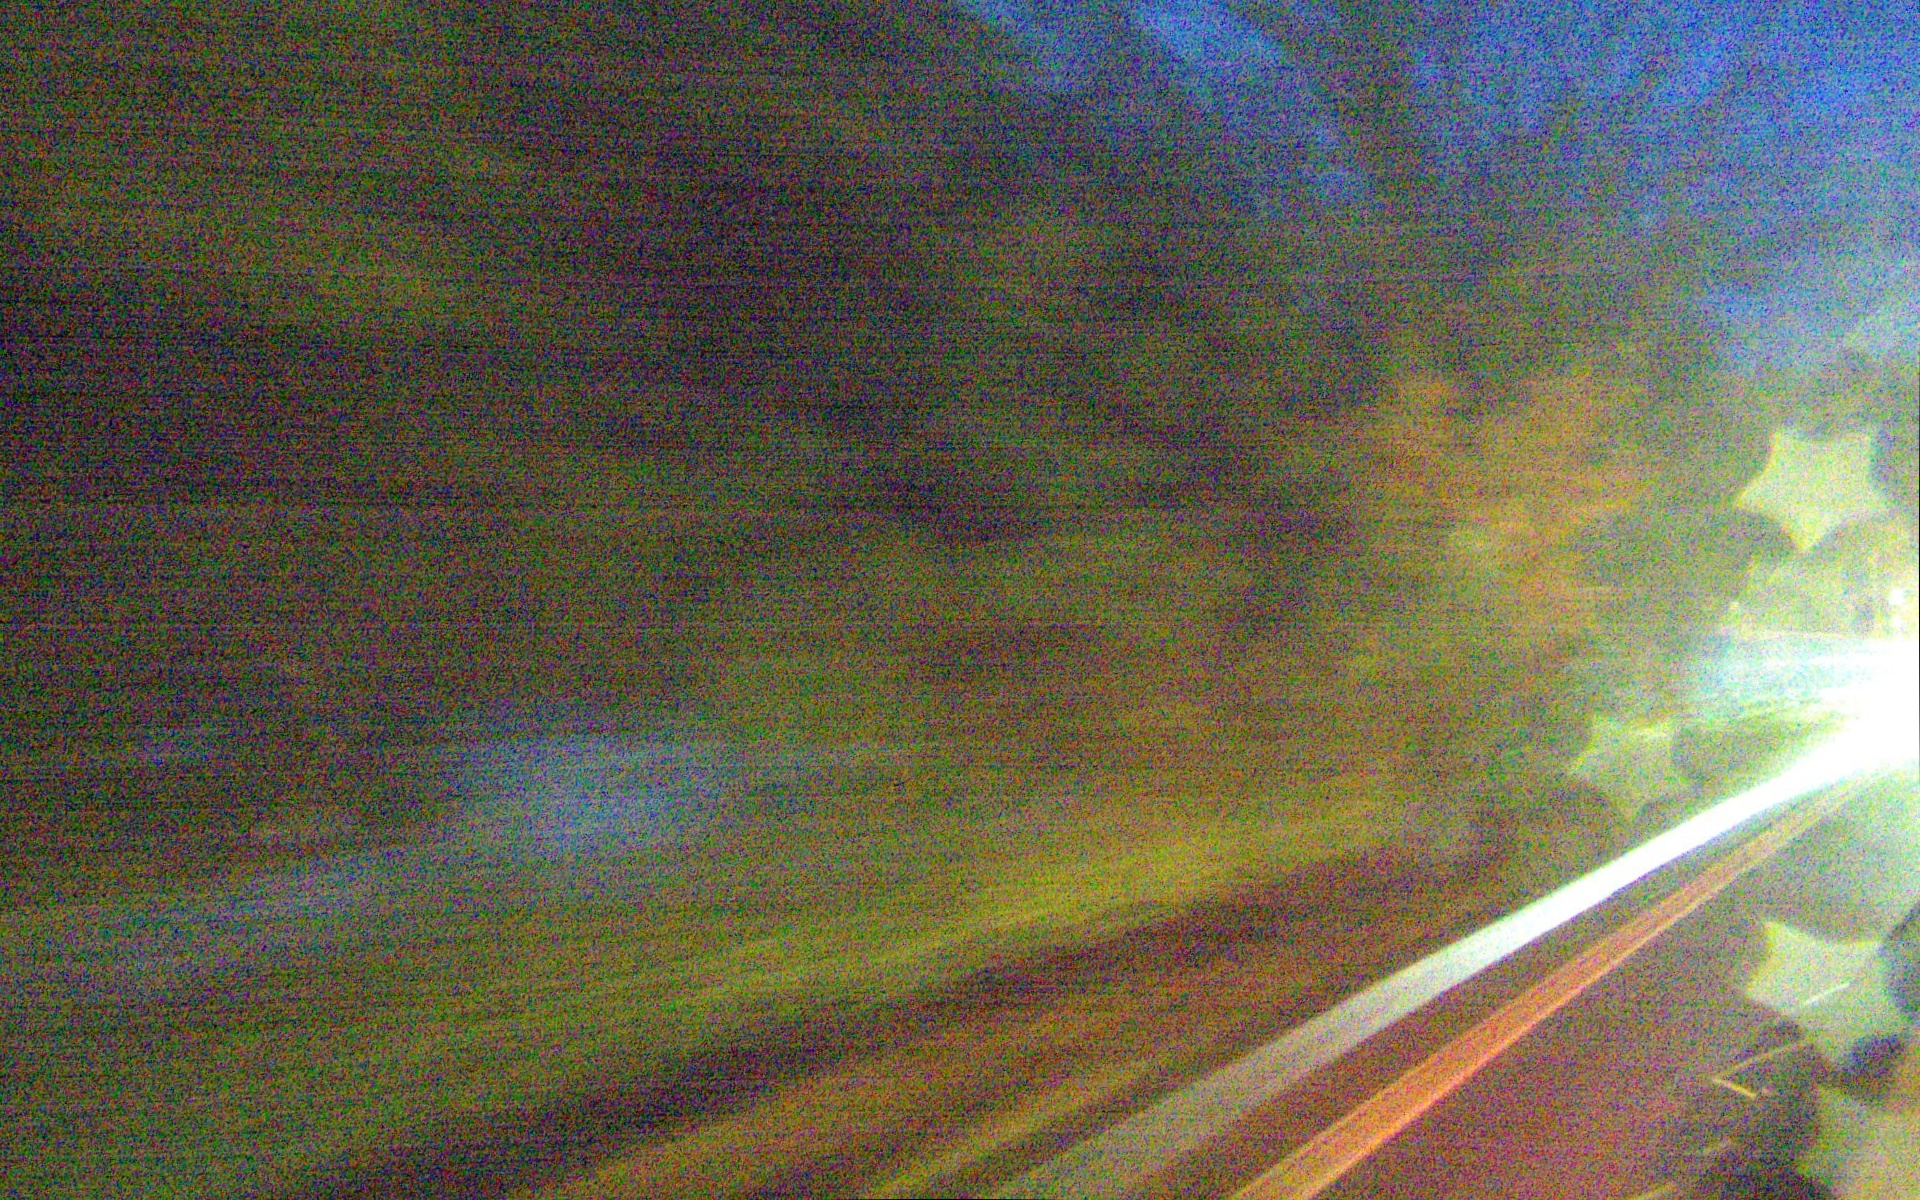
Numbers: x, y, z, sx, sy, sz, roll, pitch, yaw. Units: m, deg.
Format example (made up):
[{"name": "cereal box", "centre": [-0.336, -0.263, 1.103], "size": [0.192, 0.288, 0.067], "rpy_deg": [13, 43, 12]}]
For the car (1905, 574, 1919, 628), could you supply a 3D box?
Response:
[{"name": "car", "centre": [31.109, 0.032, 30.291], "size": [1.931, 1.712, 4.756], "rpy_deg": [-2, 0, 13]}]
